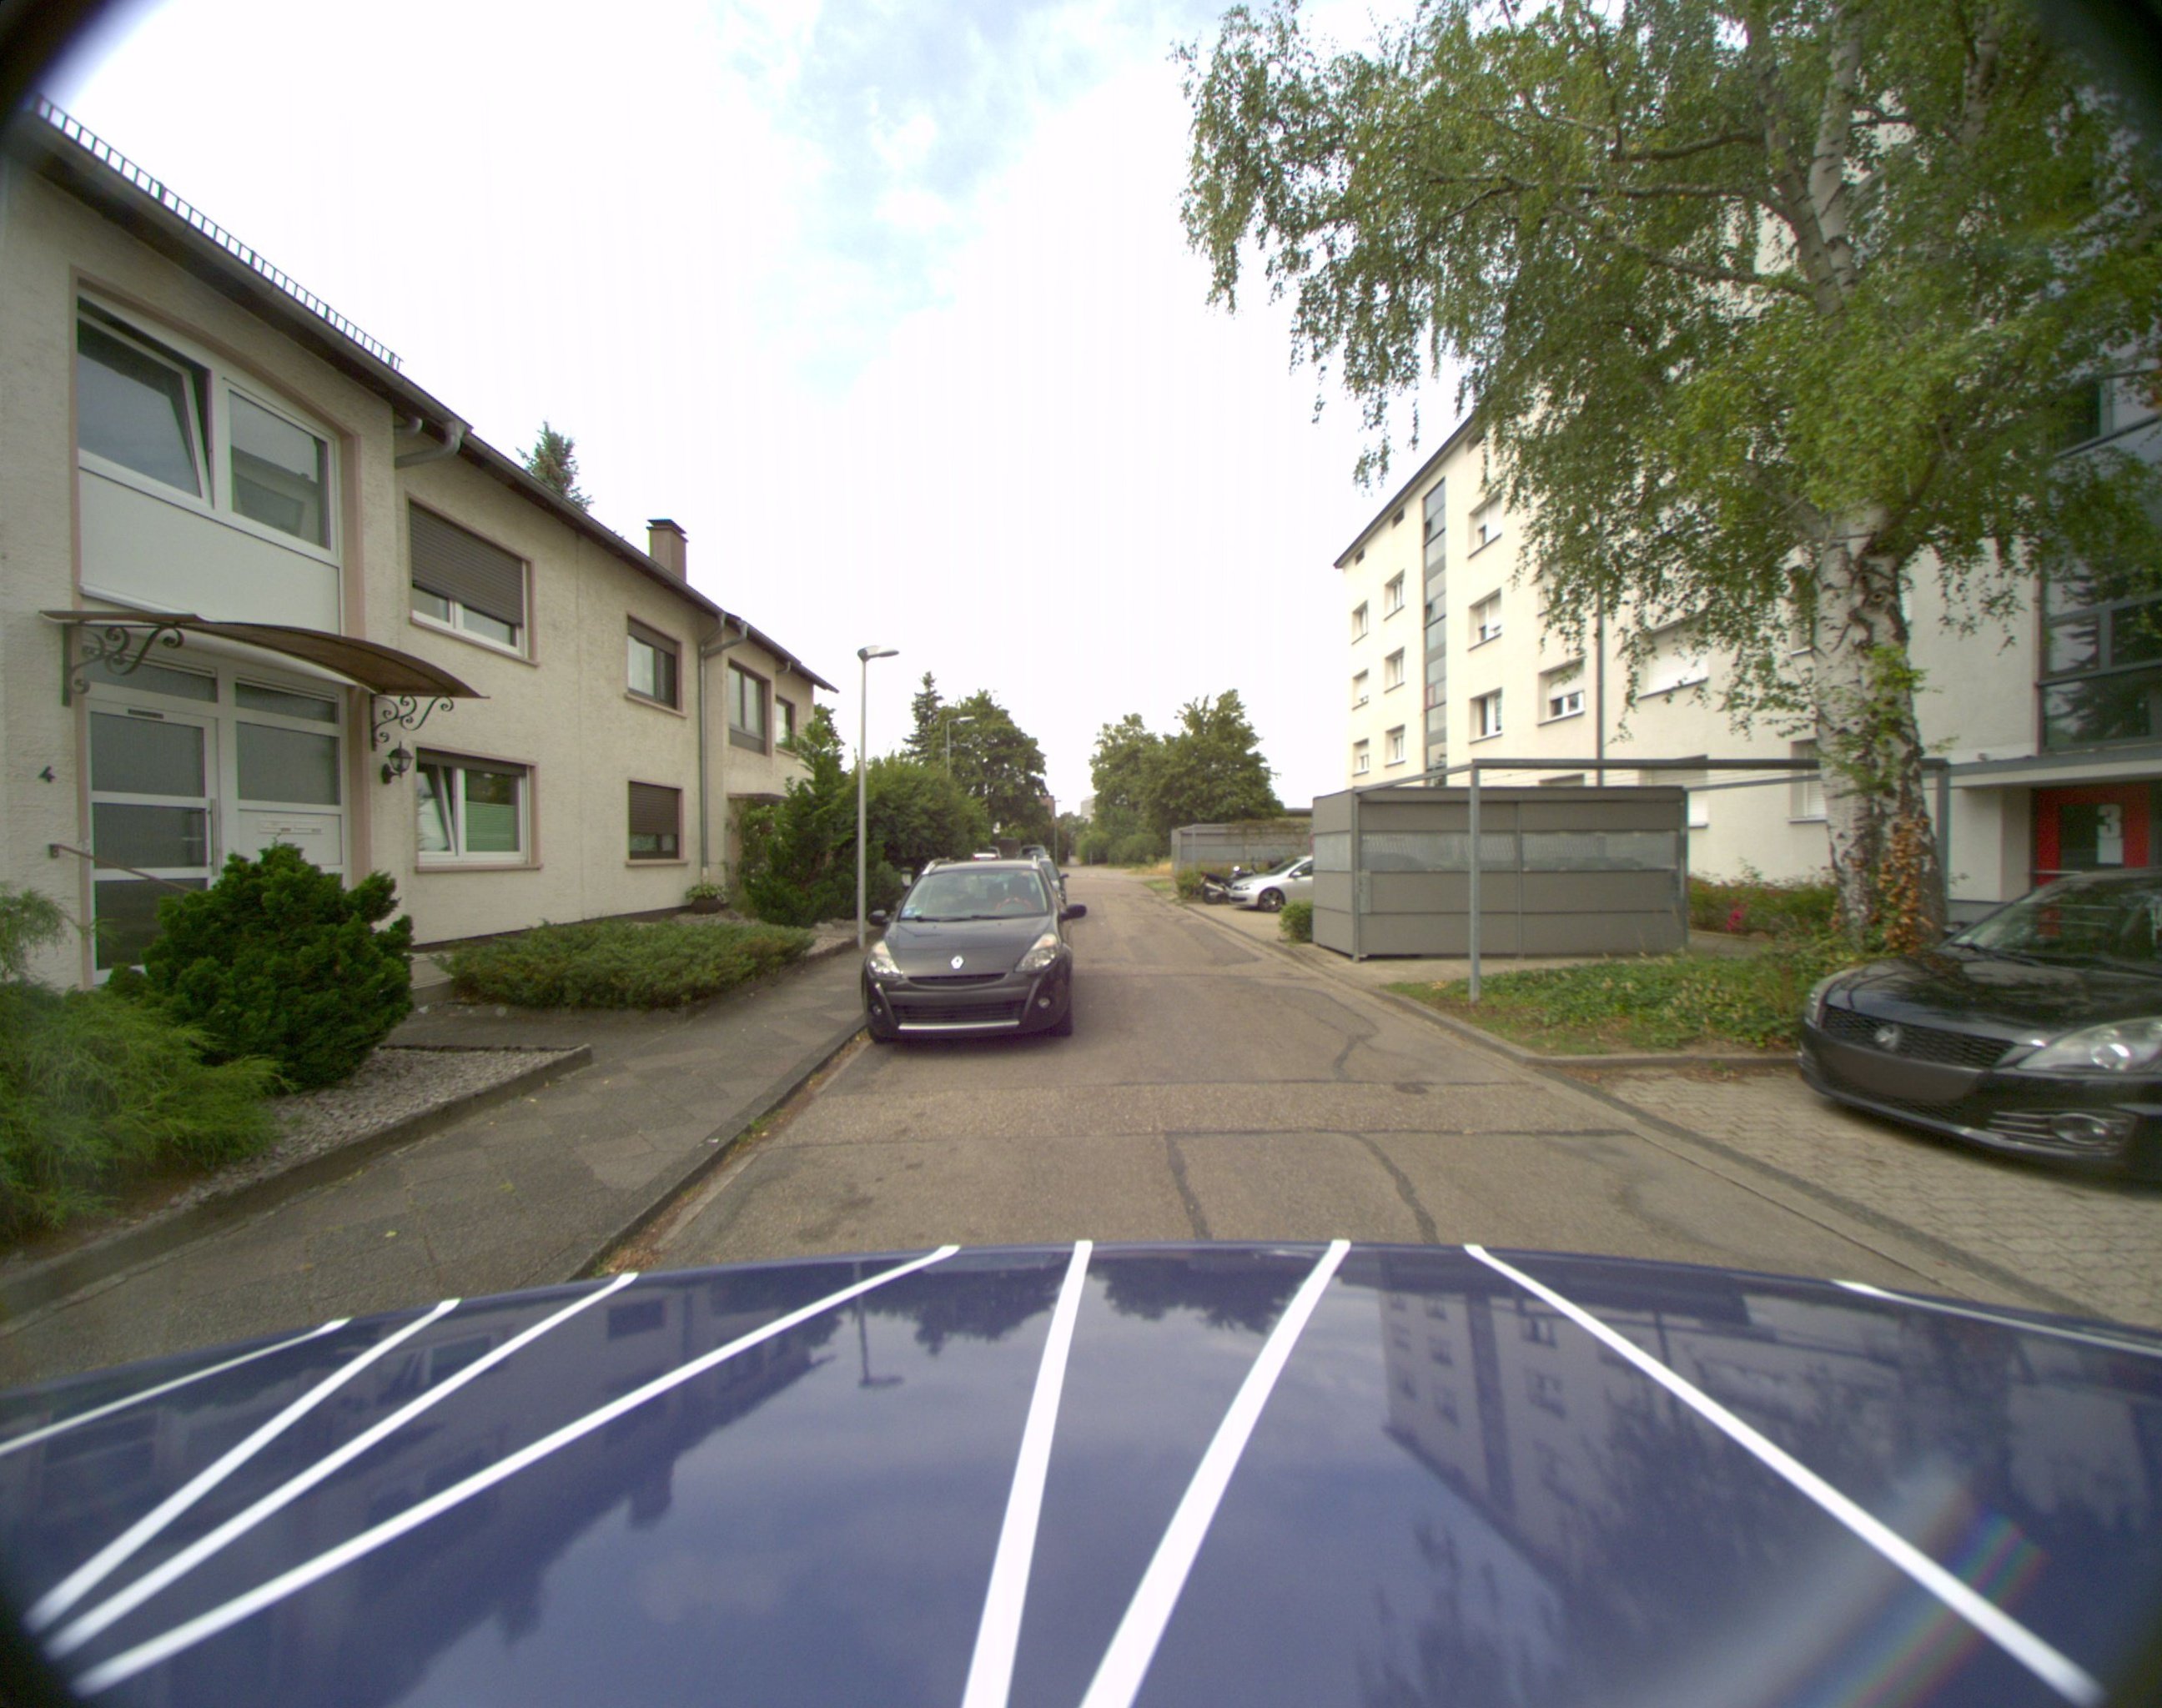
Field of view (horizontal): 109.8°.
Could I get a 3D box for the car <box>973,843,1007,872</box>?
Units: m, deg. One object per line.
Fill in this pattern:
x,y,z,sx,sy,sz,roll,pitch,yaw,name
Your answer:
-5.194,0.161,43.748,1.705,1.458,3.997,0,2,-3,car

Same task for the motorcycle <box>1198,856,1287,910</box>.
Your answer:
4.658,0.832,22.027,2.383,1.455,0.714,1,1,-1,motorcycle

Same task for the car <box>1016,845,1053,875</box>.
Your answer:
-2.634,0.301,43.178,1.926,1.576,3.998,-2,1,-3,car

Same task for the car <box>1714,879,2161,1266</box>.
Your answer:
6.099,0.926,4.005,4.062,1.496,1.781,0,1,-1,car

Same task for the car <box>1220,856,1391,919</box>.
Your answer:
5.909,0.855,20.375,3.997,1.477,1.902,1,1,0,car

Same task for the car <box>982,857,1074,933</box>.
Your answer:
-1.188,0.850,17.687,1.834,1.449,4.189,-2,0,-3,car

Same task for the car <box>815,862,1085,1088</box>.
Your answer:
-1.014,0.864,7.411,1.834,1.449,4.189,-2,0,-3,car
